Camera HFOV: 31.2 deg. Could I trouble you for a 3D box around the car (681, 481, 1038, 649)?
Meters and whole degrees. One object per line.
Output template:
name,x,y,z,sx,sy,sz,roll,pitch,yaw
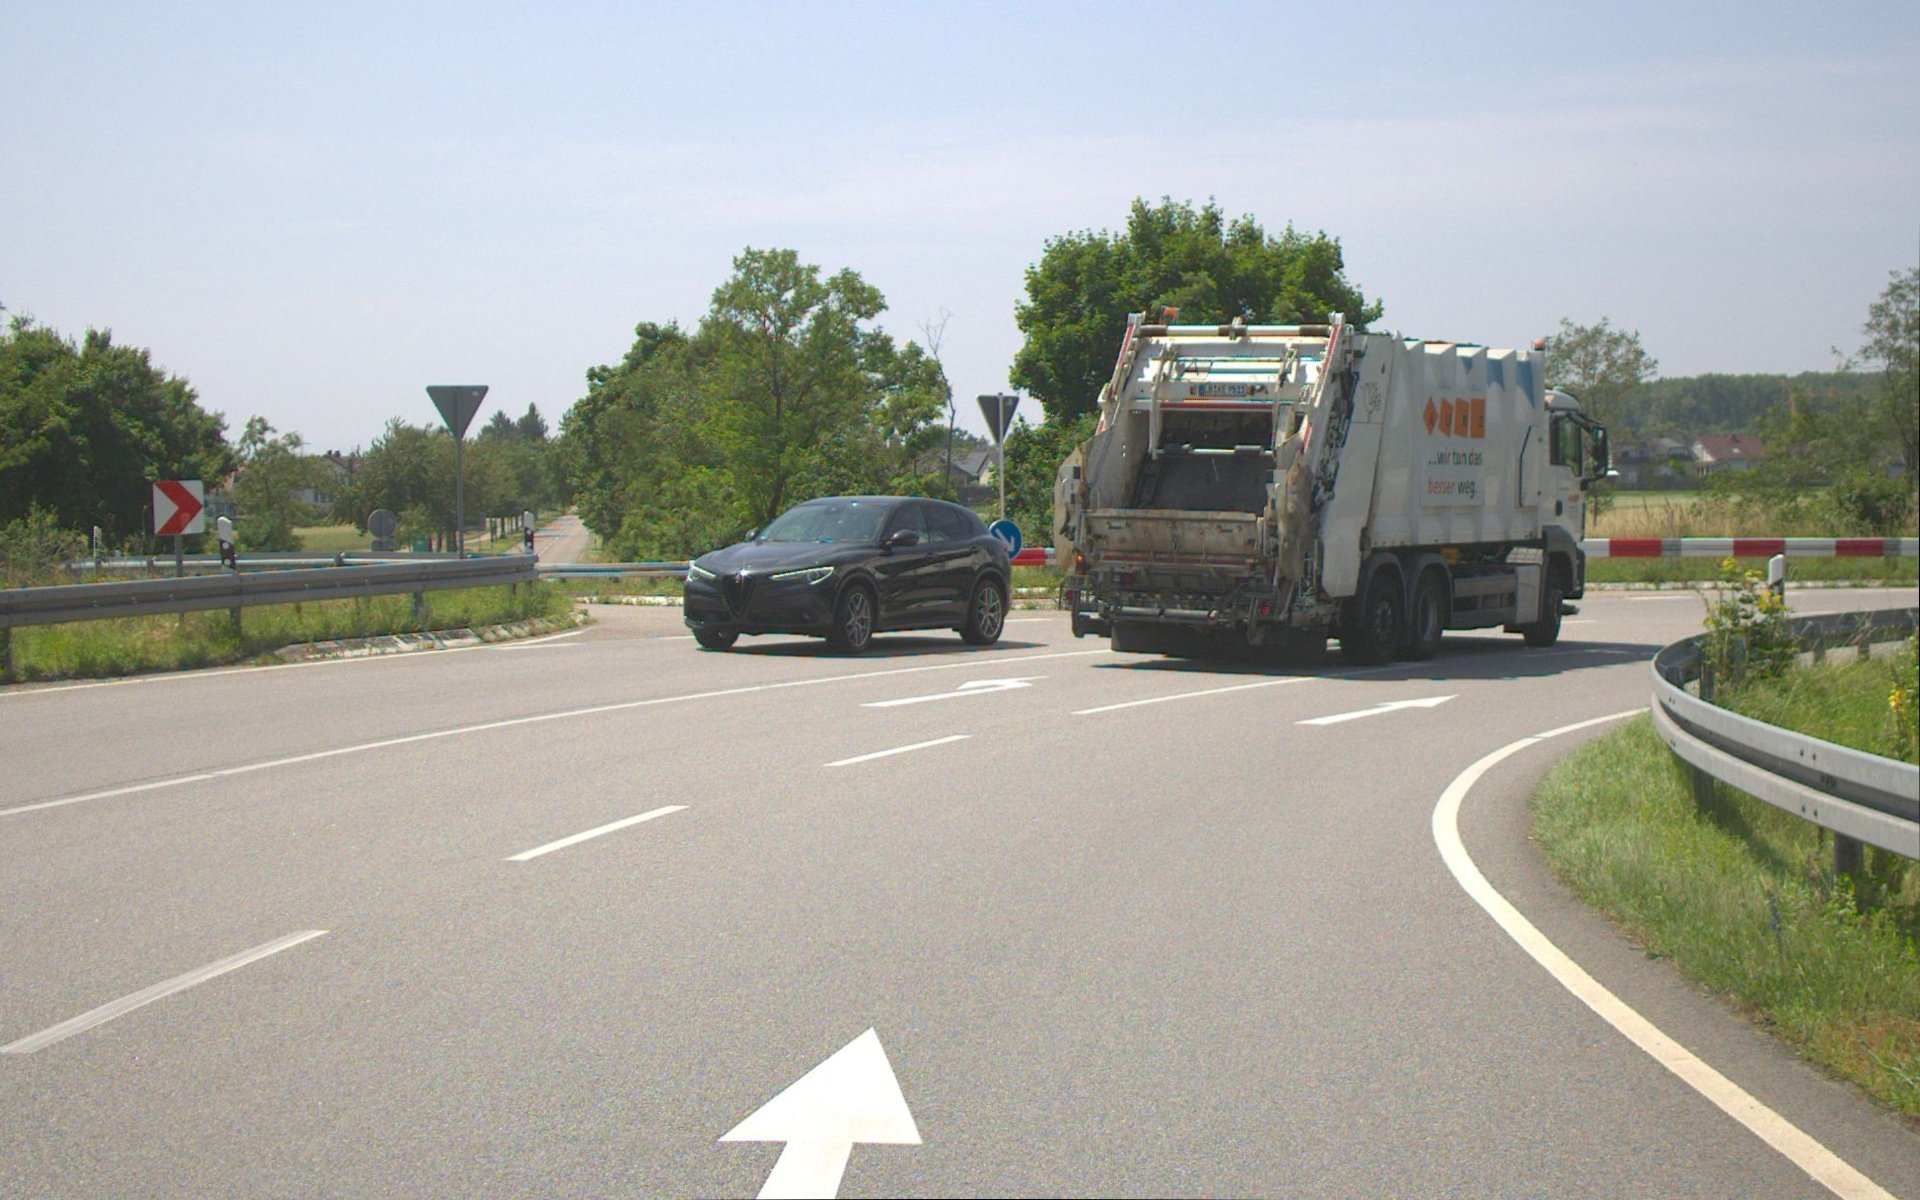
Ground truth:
car,-1.003,-0.414,37.140,1.714,1.652,4.560,3,2,29

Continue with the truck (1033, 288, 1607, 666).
truck,4.323,-1.282,38.327,2.817,3.656,9.933,1,1,28
